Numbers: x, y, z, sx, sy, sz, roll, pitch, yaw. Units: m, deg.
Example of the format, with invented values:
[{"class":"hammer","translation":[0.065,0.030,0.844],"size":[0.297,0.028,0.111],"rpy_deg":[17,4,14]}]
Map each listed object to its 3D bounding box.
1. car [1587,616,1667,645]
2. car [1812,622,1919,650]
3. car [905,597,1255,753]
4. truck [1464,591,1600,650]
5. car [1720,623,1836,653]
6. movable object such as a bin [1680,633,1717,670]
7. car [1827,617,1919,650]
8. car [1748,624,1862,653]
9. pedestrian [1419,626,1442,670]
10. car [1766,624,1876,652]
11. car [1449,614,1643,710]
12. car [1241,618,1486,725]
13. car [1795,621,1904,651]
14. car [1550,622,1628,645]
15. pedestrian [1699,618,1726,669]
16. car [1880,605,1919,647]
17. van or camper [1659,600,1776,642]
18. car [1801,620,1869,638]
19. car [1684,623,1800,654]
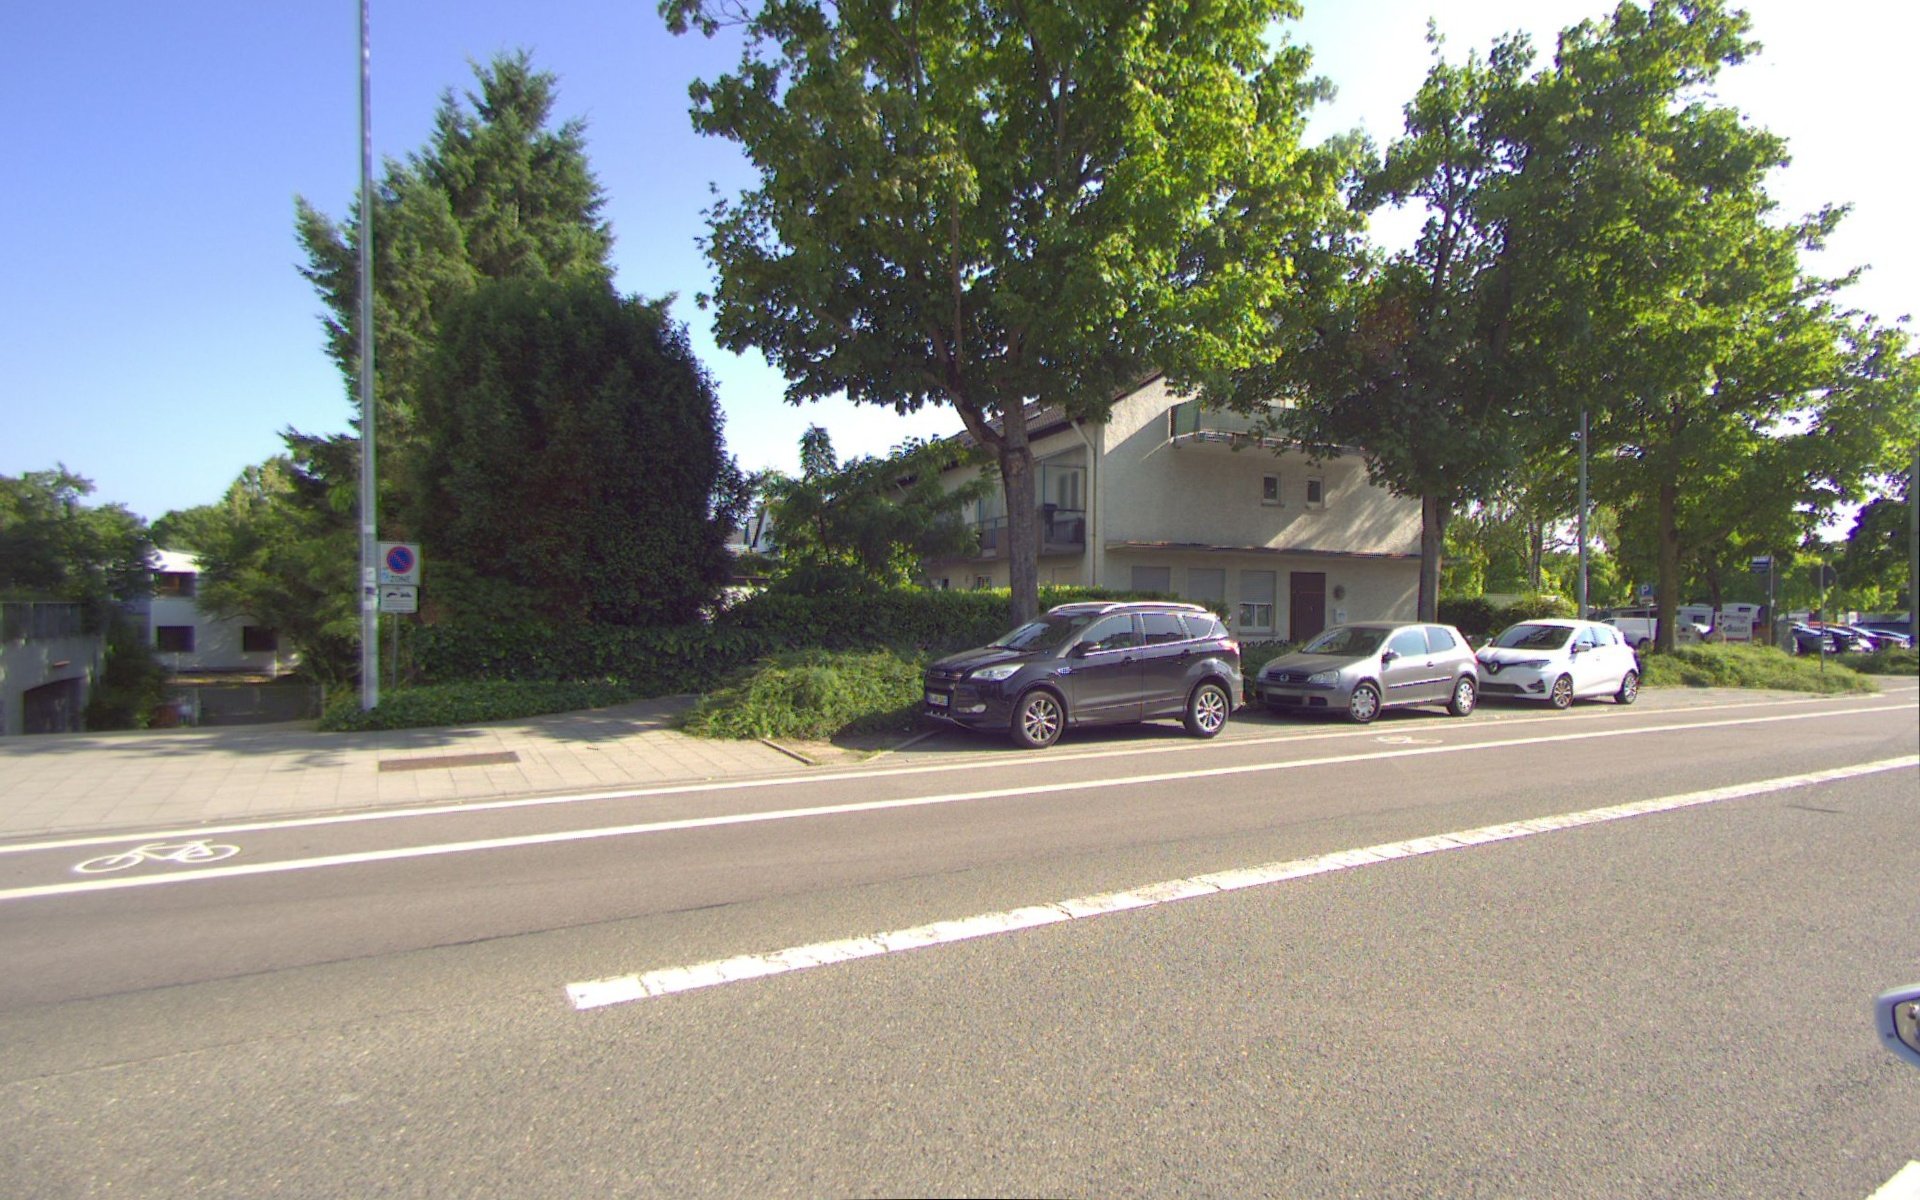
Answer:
[{"class":"car","translation":[42.474,1.945,64.016],"size":[1.611,1.751,3.958],"rpy_deg":[1,-1,-37]},{"class":"car","translation":[48.236,1.883,53.604],"size":[1.719,1.416,3.964],"rpy_deg":[1,-1,-33]},{"class":"car","translation":[1.615,0.861,12.939],"size":[4.370,1.716,1.666],"rpy_deg":[1,0,-30]},{"class":"truck","translation":[33.645,1.173,59.356],"size":[1.965,3.285,6.925],"rpy_deg":[1,-1,-32]},{"class":"car","translation":[38.922,1.762,47.876],"size":[1.719,1.324,3.964],"rpy_deg":[1,-1,-33]},{"class":"movable object such as a bin","translation":[23.812,1.657,32.379],"size":[1.246,1.161,0.539],"rpy_deg":[1,-1,-31]},{"class":"car","translation":[50.401,1.795,54.571],"size":[2.026,1.673,4.593],"rpy_deg":[1,-1,-32]},{"class":"car","translation":[41.281,1.843,49.162],"size":[1.719,1.324,3.964],"rpy_deg":[1,-1,-33]},{"class":"pedestrian","translation":[13.304,1.347,28.404],"size":[0.385,1.233,0.444],"rpy_deg":[1,0,-22]},{"class":"car","translation":[43.751,1.893,51.133],"size":[1.719,1.324,3.964],"rpy_deg":[1,-1,-33]},{"class":"car","translation":[11.062,1.092,18.904],"size":[3.853,1.571,1.591],"rpy_deg":[1,1,-33]},{"class":"car","translation":[6.456,1.051,15.971],"size":[3.925,1.488,1.667],"rpy_deg":[1,0,-33]},{"class":"car","translation":[45.856,1.837,51.855],"size":[1.719,1.416,3.964],"rpy_deg":[1,-1,-33]},{"class":"car","translation":[39.916,2.134,63.852],"size":[1.604,1.379,3.976],"rpy_deg":[1,-1,-25]},{"class":"pedestrian","translation":[24.611,1.417,32.845],"size":[0.603,1.649,0.522],"rpy_deg":[1,0,-30]},{"class":"car","translation":[57.339,1.540,58.400],"size":[2.063,2.456,5.350],"rpy_deg":[1,-1,-30]},{"class":"van or camper","translation":[54.642,1.458,72.639],"size":[2.279,2.906,6.435],"rpy_deg":[1,0,-29]},{"class":"car","translation":[71.967,2.348,82.647],"size":[1.719,1.416,3.964],"rpy_deg":[1,-1,-33]},{"class":"car","translation":[36.618,1.768,47.111],"size":[1.719,1.324,3.964],"rpy_deg":[1,-1,-33]}]
